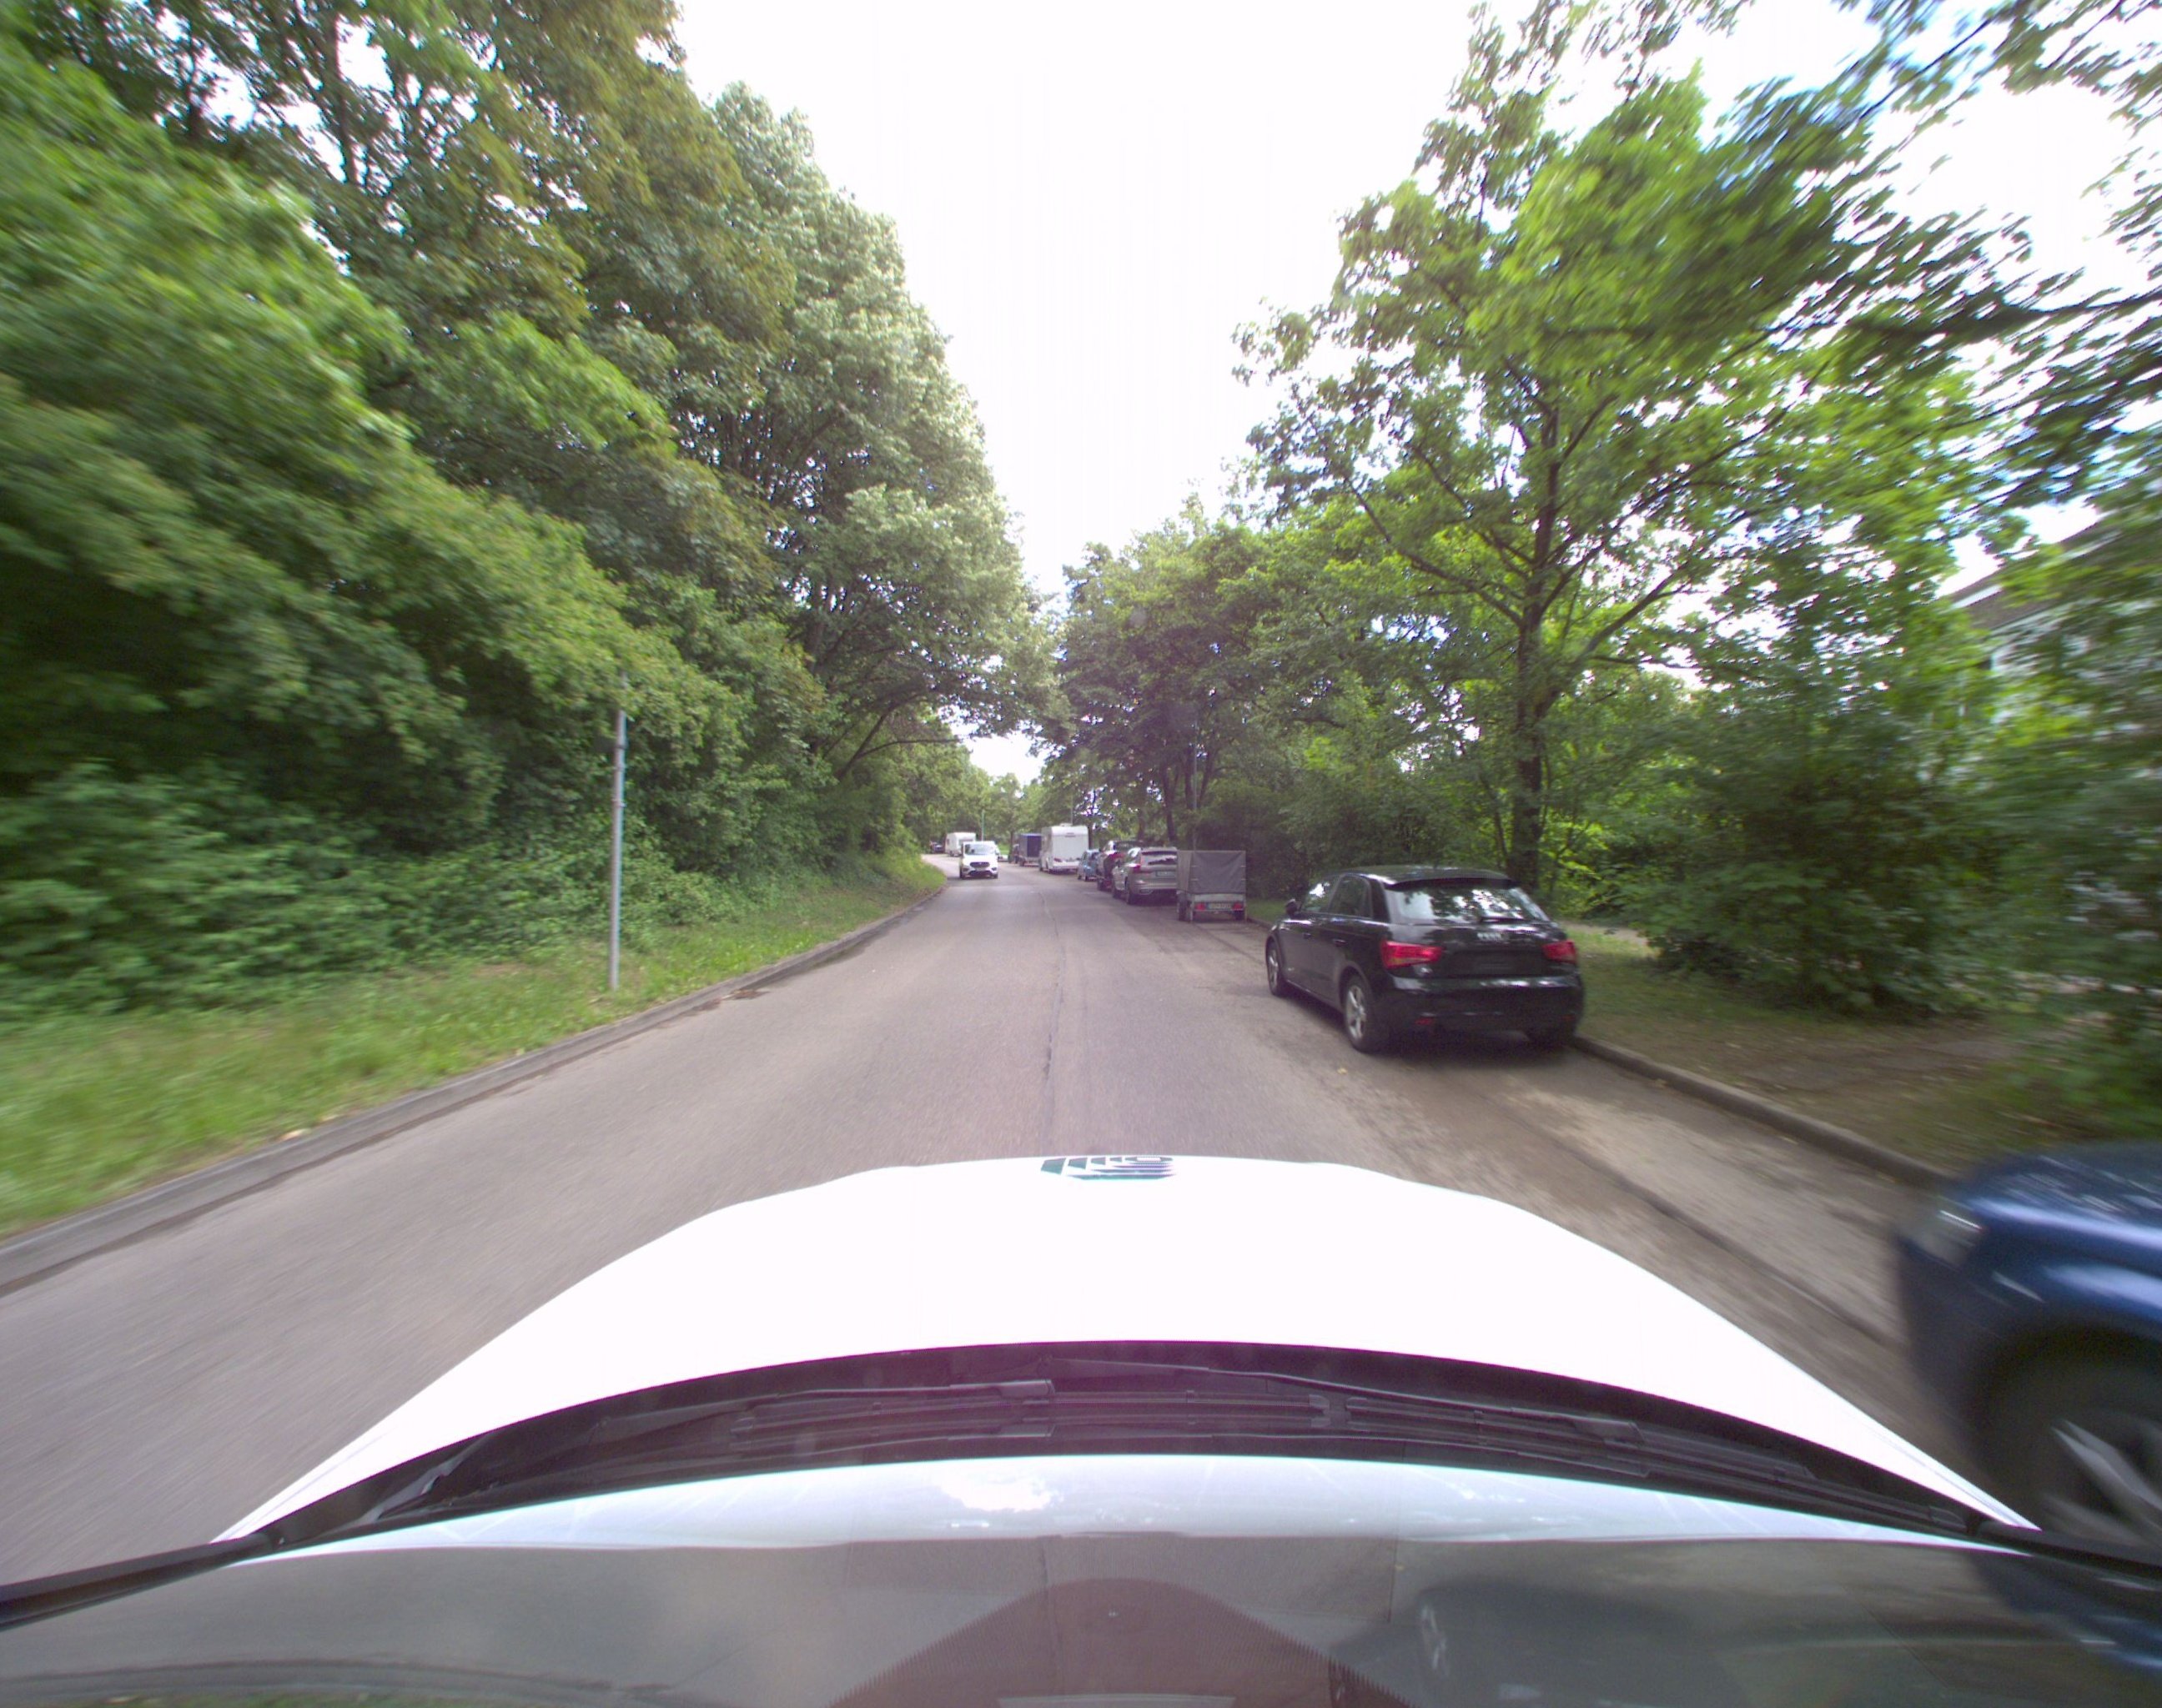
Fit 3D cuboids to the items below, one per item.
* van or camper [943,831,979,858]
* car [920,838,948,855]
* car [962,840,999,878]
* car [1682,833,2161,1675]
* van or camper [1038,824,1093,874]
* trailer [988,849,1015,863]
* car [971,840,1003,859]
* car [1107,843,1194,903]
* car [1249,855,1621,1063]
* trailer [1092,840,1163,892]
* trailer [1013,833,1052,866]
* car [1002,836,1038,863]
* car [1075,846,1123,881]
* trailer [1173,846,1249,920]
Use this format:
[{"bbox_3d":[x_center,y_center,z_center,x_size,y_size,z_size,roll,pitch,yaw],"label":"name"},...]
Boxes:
[{"bbox_3d":[-12.836,-1.023,87.051,2.539,2.697,4.537,-2,1,-25],"label":"van or camper"},{"bbox_3d":[-17.389,-0.918,96.175,2.007,1.869,3.961,-3,3,-31],"label":"car"},{"bbox_3d":[-5.519,0.246,45.127,1.945,1.984,4.493,0,0,-6],"label":"car"},{"bbox_3d":[2.873,0.705,0.327,1.843,1.474,4.474,0,0,-3],"label":"car"},{"bbox_3d":[-1.068,-0.294,50.630,2.482,2.876,6.866,0,0,-10],"label":"van or camper"},{"bbox_3d":[-6.894,0.140,70.198,1.655,1.086,3.980,-2,1,-15],"label":"trailer"},{"bbox_3d":[-9.147,-0.427,79.202,2.044,1.803,4.052,-1,1,-23],"label":"car"},{"bbox_3d":[2.024,0.566,24.919,1.790,1.670,4.491,0,-1,-7],"label":"car"},{"bbox_3d":[2.919,0.747,7.714,1.716,1.453,3.914,0,0,-2],"label":"car"},{"bbox_3d":[1.663,0.377,31.066,1.976,1.811,5.140,-1,1,-5],"label":"trailer"},{"bbox_3d":[-3.683,-0.349,61.160,1.999,2.398,3.976,0,0,-18],"label":"trailer"},{"bbox_3d":[-4.997,-0.383,66.504,1.999,2.025,3.976,-3,3,-18],"label":"car"},{"bbox_3d":[0.836,0.429,40.391,1.798,1.562,3.825,-1,1,-8],"label":"car"},{"bbox_3d":[2.906,0.613,18.564,1.275,1.585,2.458,0,0,-2],"label":"trailer"}]
